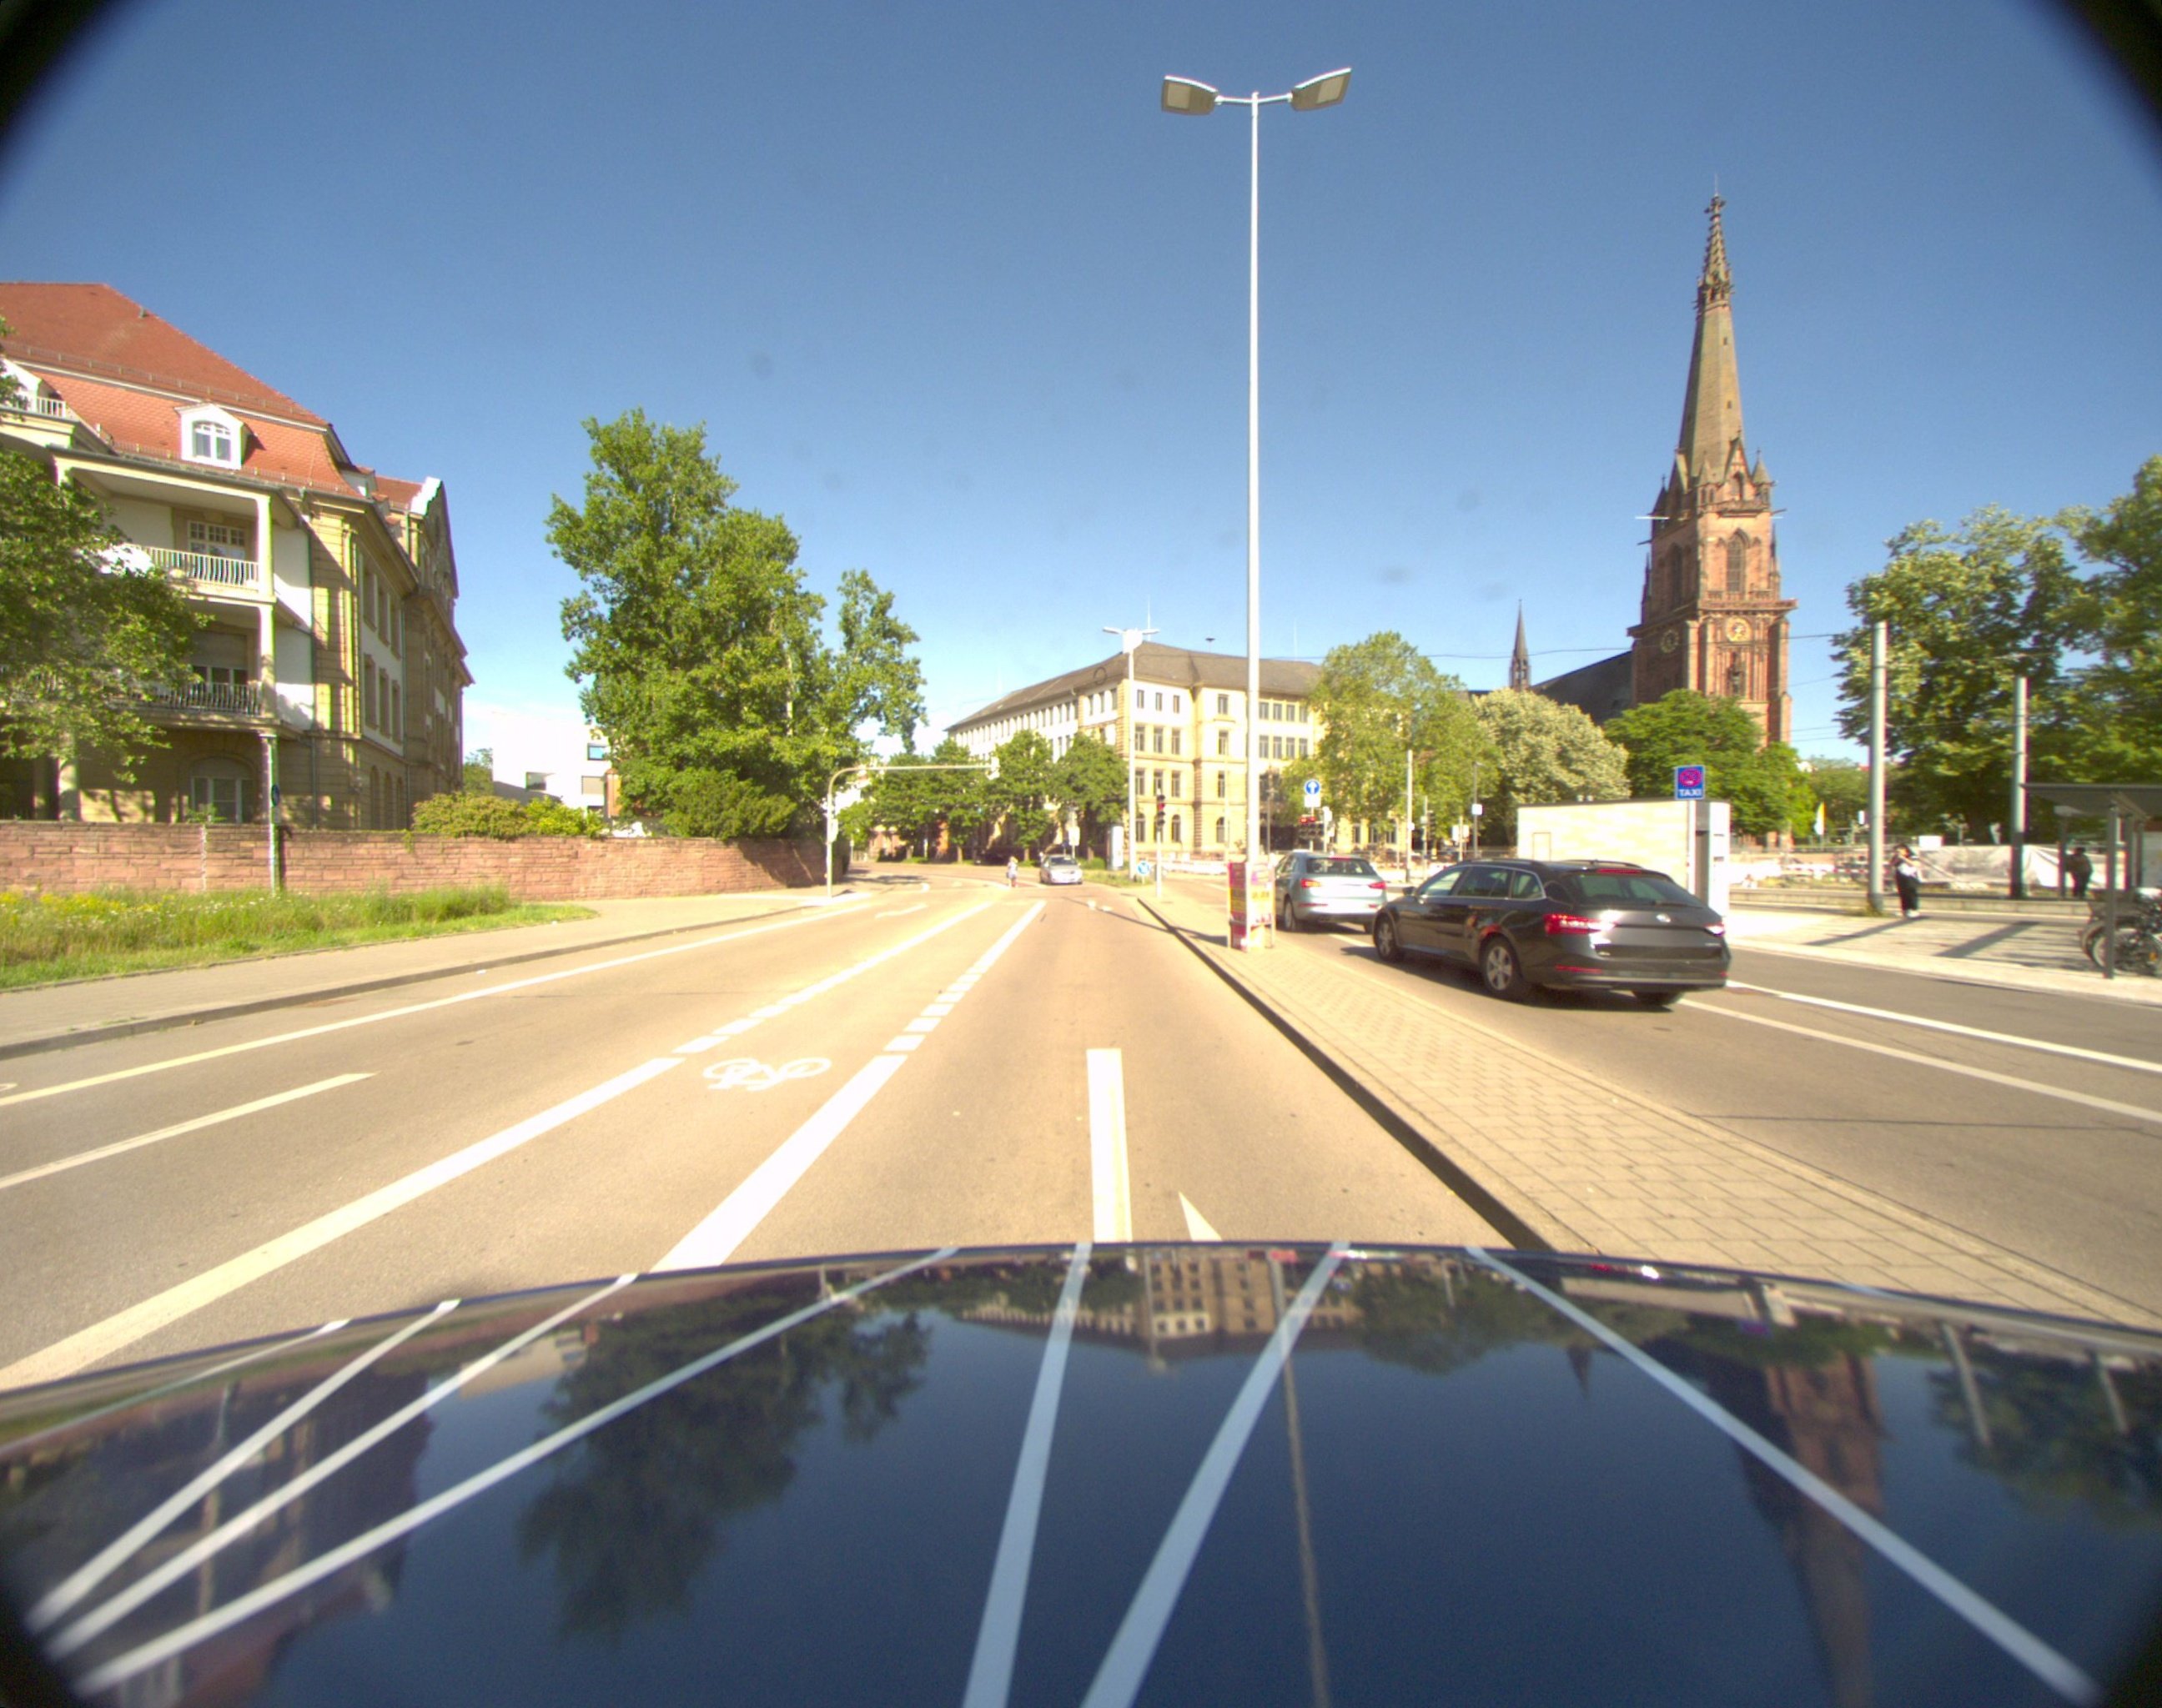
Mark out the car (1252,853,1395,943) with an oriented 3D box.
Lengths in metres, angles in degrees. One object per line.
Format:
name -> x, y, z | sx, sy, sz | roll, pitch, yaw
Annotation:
car -> 4.854, 0.785, 15.850 | 1.792, 1.572, 4.258 | 1, 0, 3

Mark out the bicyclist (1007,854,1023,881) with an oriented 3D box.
bicyclist -> -3.451, 0.707, 39.756 | 0.741, 1.363, 0.626 | -2, 1, -6

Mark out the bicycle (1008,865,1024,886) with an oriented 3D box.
bicycle -> -3.422, 1.122, 39.695 | 0.741, 0.989, 2.305 | -2, 1, -6

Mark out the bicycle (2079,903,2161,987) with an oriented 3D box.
bicycle -> 13.986, 1.190, 9.557 | 0.407, 0.993, 1.678 | -3, 3, -33

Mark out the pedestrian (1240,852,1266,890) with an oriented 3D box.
pedestrian -> 7.551, 0.744, 33.340 | 0.933, 1.657, 0.629 | 0, 1, -14

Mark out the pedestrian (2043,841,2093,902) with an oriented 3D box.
pedestrian -> 30.624, 0.535, 23.581 | 0.619, 1.849, 0.703 | 0, 1, 11

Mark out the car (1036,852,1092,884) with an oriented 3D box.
car -> -1.018, 0.715, 41.440 | 2.001, 1.580, 4.845 | -3, 1, -14

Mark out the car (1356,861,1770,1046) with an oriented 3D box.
car -> 5.057, 0.889, 9.001 | 1.818, 1.496, 4.784 | 2, 0, 0

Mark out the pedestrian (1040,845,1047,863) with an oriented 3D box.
pedestrian -> -4.256, -0.030, 87.052 | 0.557, 2.002, 0.645 | -1, 1, -37

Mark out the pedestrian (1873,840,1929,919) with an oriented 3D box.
pedestrian -> 19.590, 0.598, 18.159 | 0.702, 1.849, 0.620 | 0, 1, -12

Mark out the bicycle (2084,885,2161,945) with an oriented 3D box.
bicycle -> 19.029, 1.086, 13.344 | 0.407, 0.993, 1.679 | -3, 2, -33

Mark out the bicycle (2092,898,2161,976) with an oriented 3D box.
bicycle -> 15.031, 1.168, 10.215 | 0.407, 0.993, 1.678 | -3, 3, -33

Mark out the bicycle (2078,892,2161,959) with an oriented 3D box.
bicycle -> 17.185, 1.144, 12.018 | 0.407, 0.993, 1.679 | -3, 2, -33

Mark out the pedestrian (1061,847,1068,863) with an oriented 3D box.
pedestrian -> -1.790, 0.075, 82.025 | 0.540, 1.710, 0.545 | -1, 1, -37

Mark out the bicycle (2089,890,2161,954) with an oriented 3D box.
bicycle -> 17.965, 1.139, 12.466 | 0.407, 0.993, 1.679 | -3, 2, -33

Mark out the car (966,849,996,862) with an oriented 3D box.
car -> -11.916, 0.141, 90.577 | 1.839, 1.587, 3.989 | -1, 1, -37

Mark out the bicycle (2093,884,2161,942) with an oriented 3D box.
bicycle -> 19.514, 1.067, 13.586 | 0.407, 0.993, 1.679 | -3, 2, -33

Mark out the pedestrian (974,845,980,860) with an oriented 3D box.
pedestrian -> -13.387, -0.192, 97.798 | 0.578, 1.893, 0.781 | -1, 1, -36

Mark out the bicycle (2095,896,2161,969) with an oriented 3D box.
bicycle -> 16.129, 1.184, 11.005 | 0.407, 0.993, 1.678 | -3, 3, -33
